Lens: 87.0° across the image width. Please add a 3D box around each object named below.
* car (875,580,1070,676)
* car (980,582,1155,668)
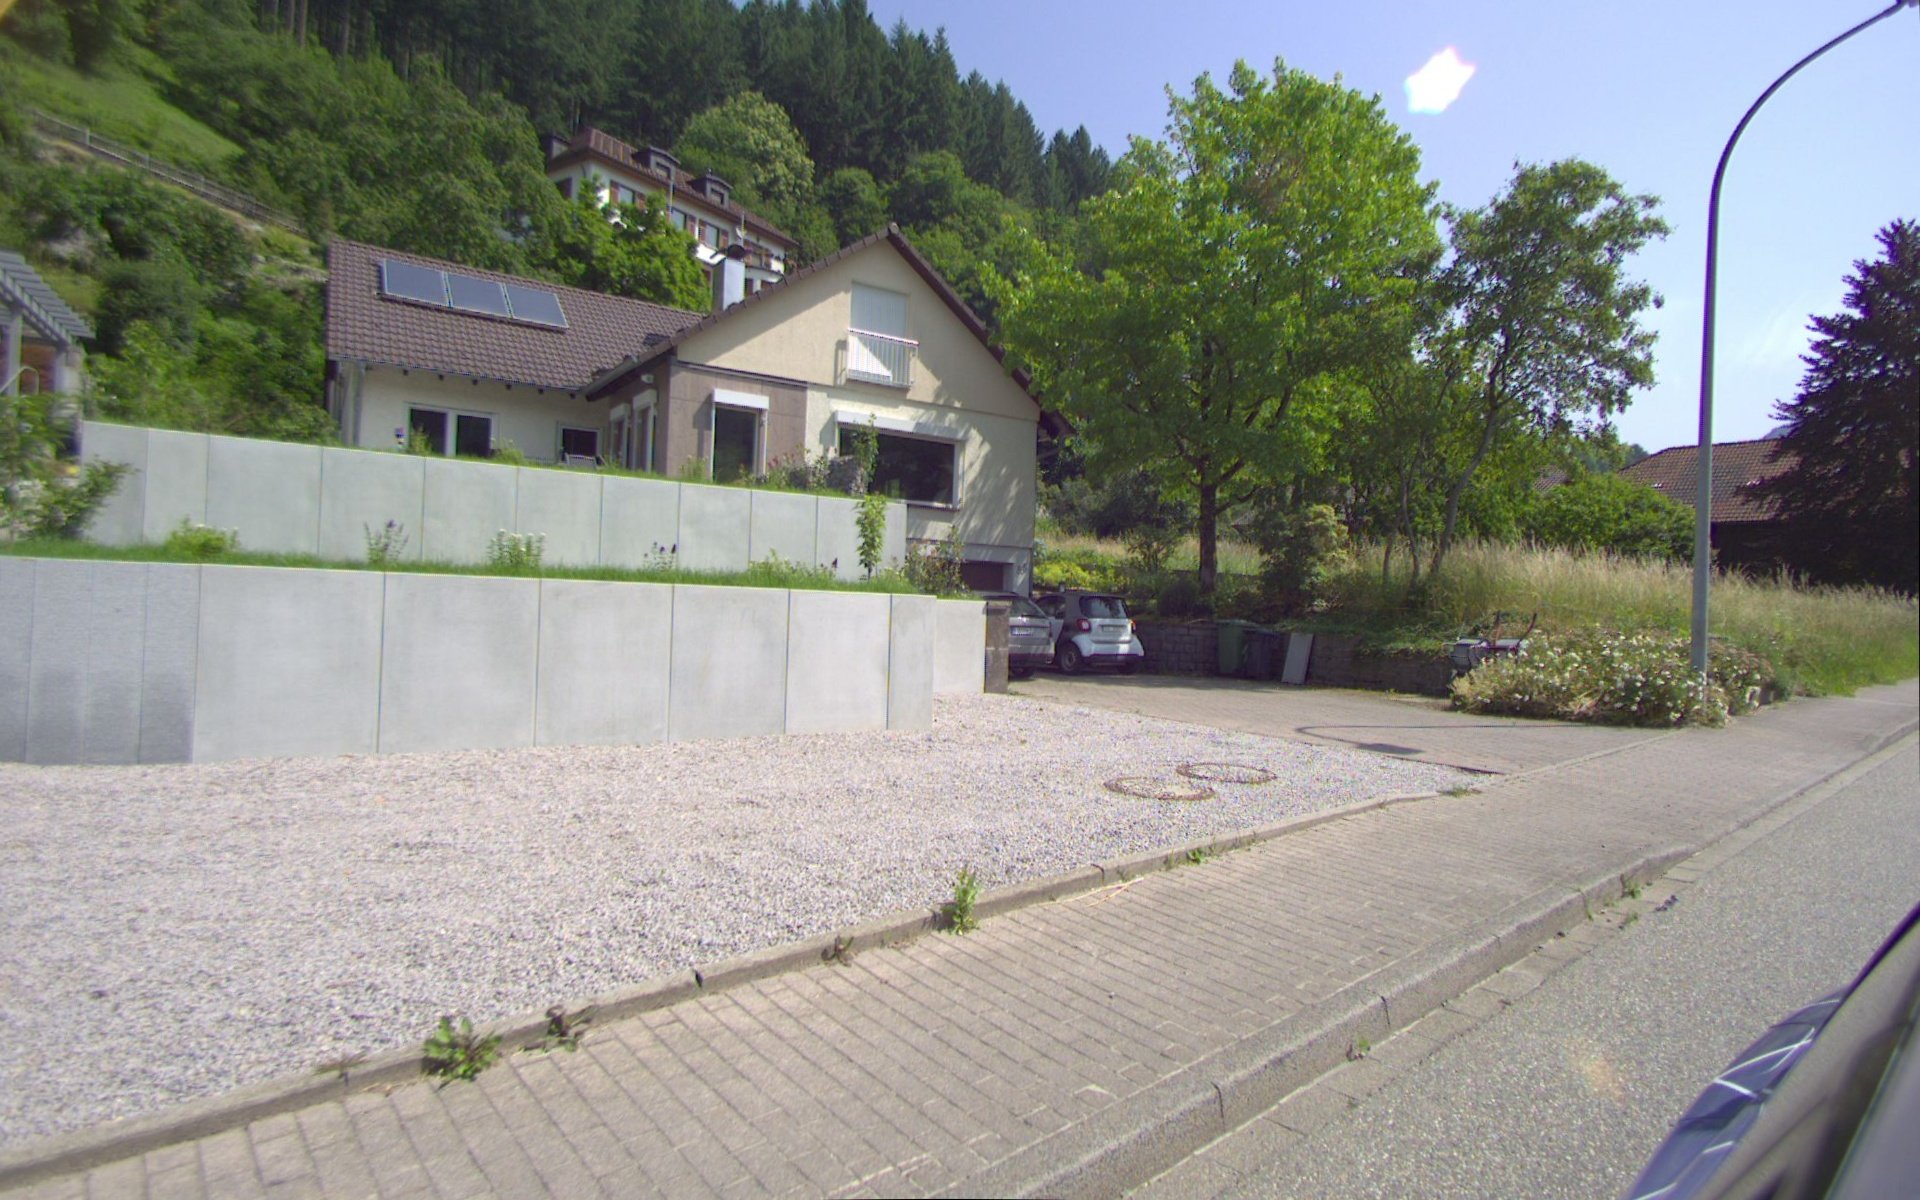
[{"bbox_3d":[0.111,0.410,17.685,1.689,1.489,3.749,0,1,-31],"label":"car"},{"bbox_3d":[2.017,0.422,19.716,1.720,1.516,3.230,0,1,-34],"label":"car"}]
